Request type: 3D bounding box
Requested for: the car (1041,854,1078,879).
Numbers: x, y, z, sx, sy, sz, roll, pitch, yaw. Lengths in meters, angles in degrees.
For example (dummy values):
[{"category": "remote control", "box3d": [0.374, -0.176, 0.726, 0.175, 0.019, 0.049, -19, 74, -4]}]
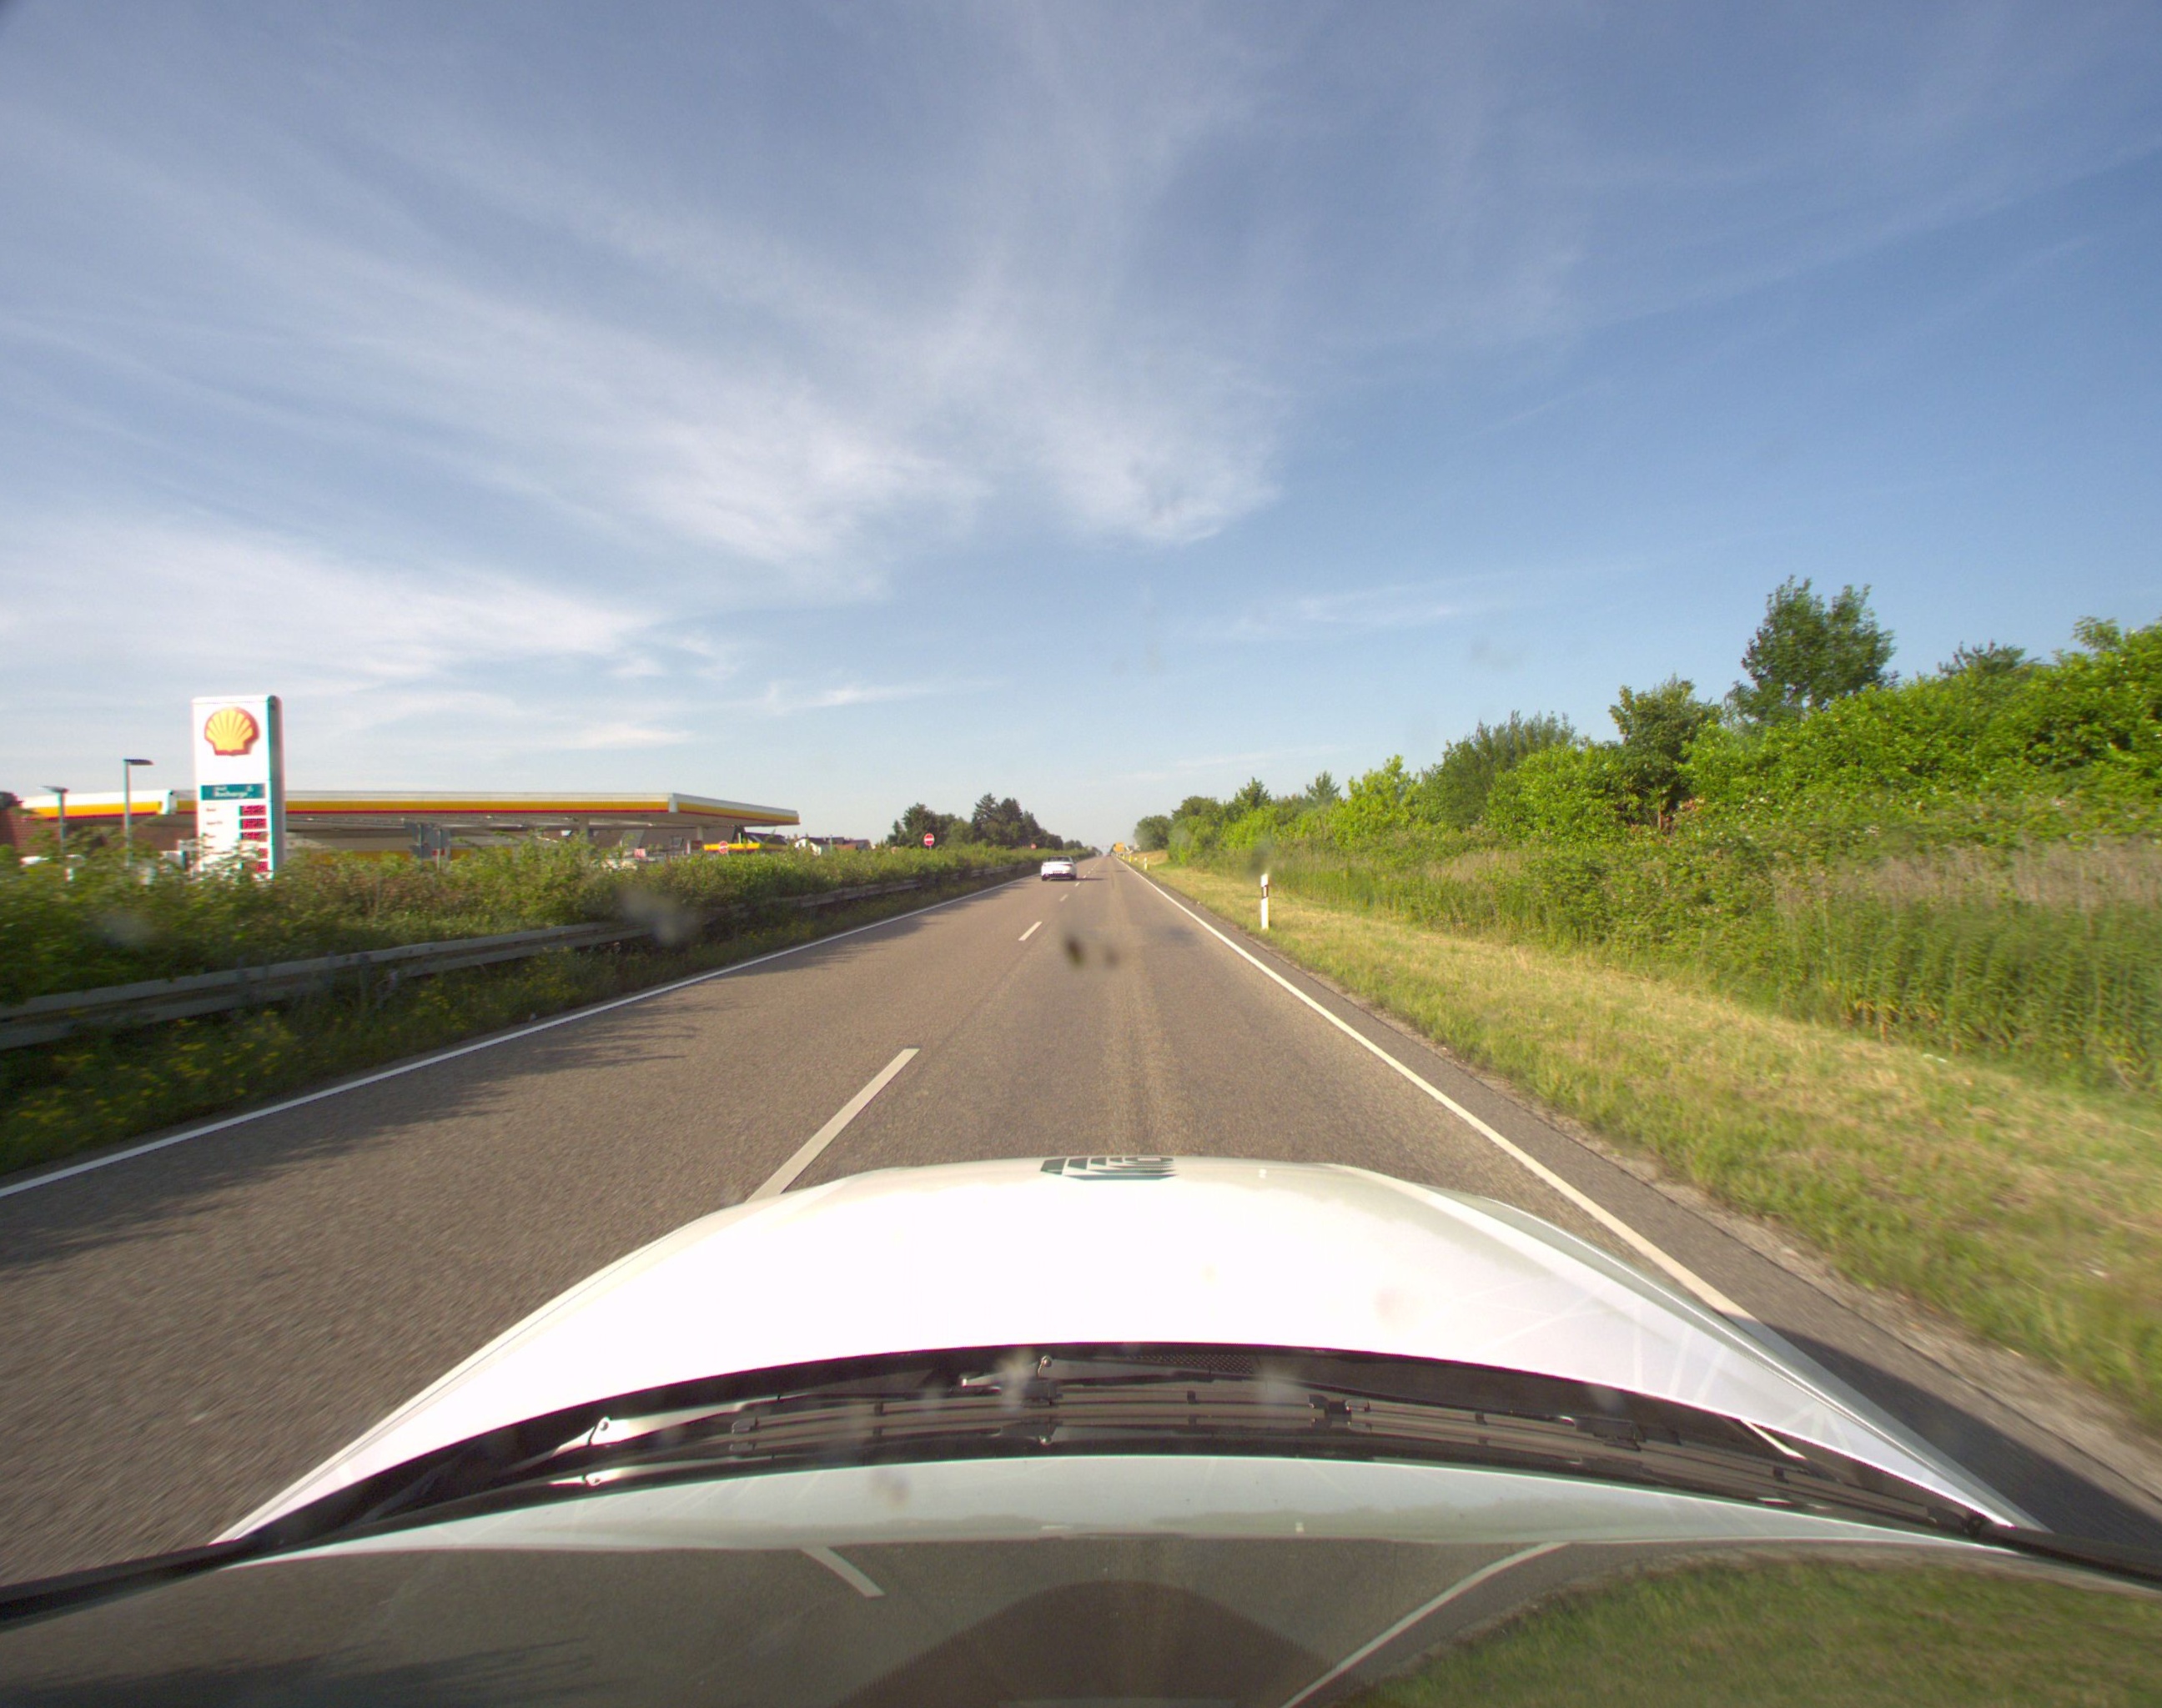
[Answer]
[{"category": "car", "box3d": [-1.188, 0.711, 46.488, 1.764, 1.337, 4.952, 0, 0, 2]}]
